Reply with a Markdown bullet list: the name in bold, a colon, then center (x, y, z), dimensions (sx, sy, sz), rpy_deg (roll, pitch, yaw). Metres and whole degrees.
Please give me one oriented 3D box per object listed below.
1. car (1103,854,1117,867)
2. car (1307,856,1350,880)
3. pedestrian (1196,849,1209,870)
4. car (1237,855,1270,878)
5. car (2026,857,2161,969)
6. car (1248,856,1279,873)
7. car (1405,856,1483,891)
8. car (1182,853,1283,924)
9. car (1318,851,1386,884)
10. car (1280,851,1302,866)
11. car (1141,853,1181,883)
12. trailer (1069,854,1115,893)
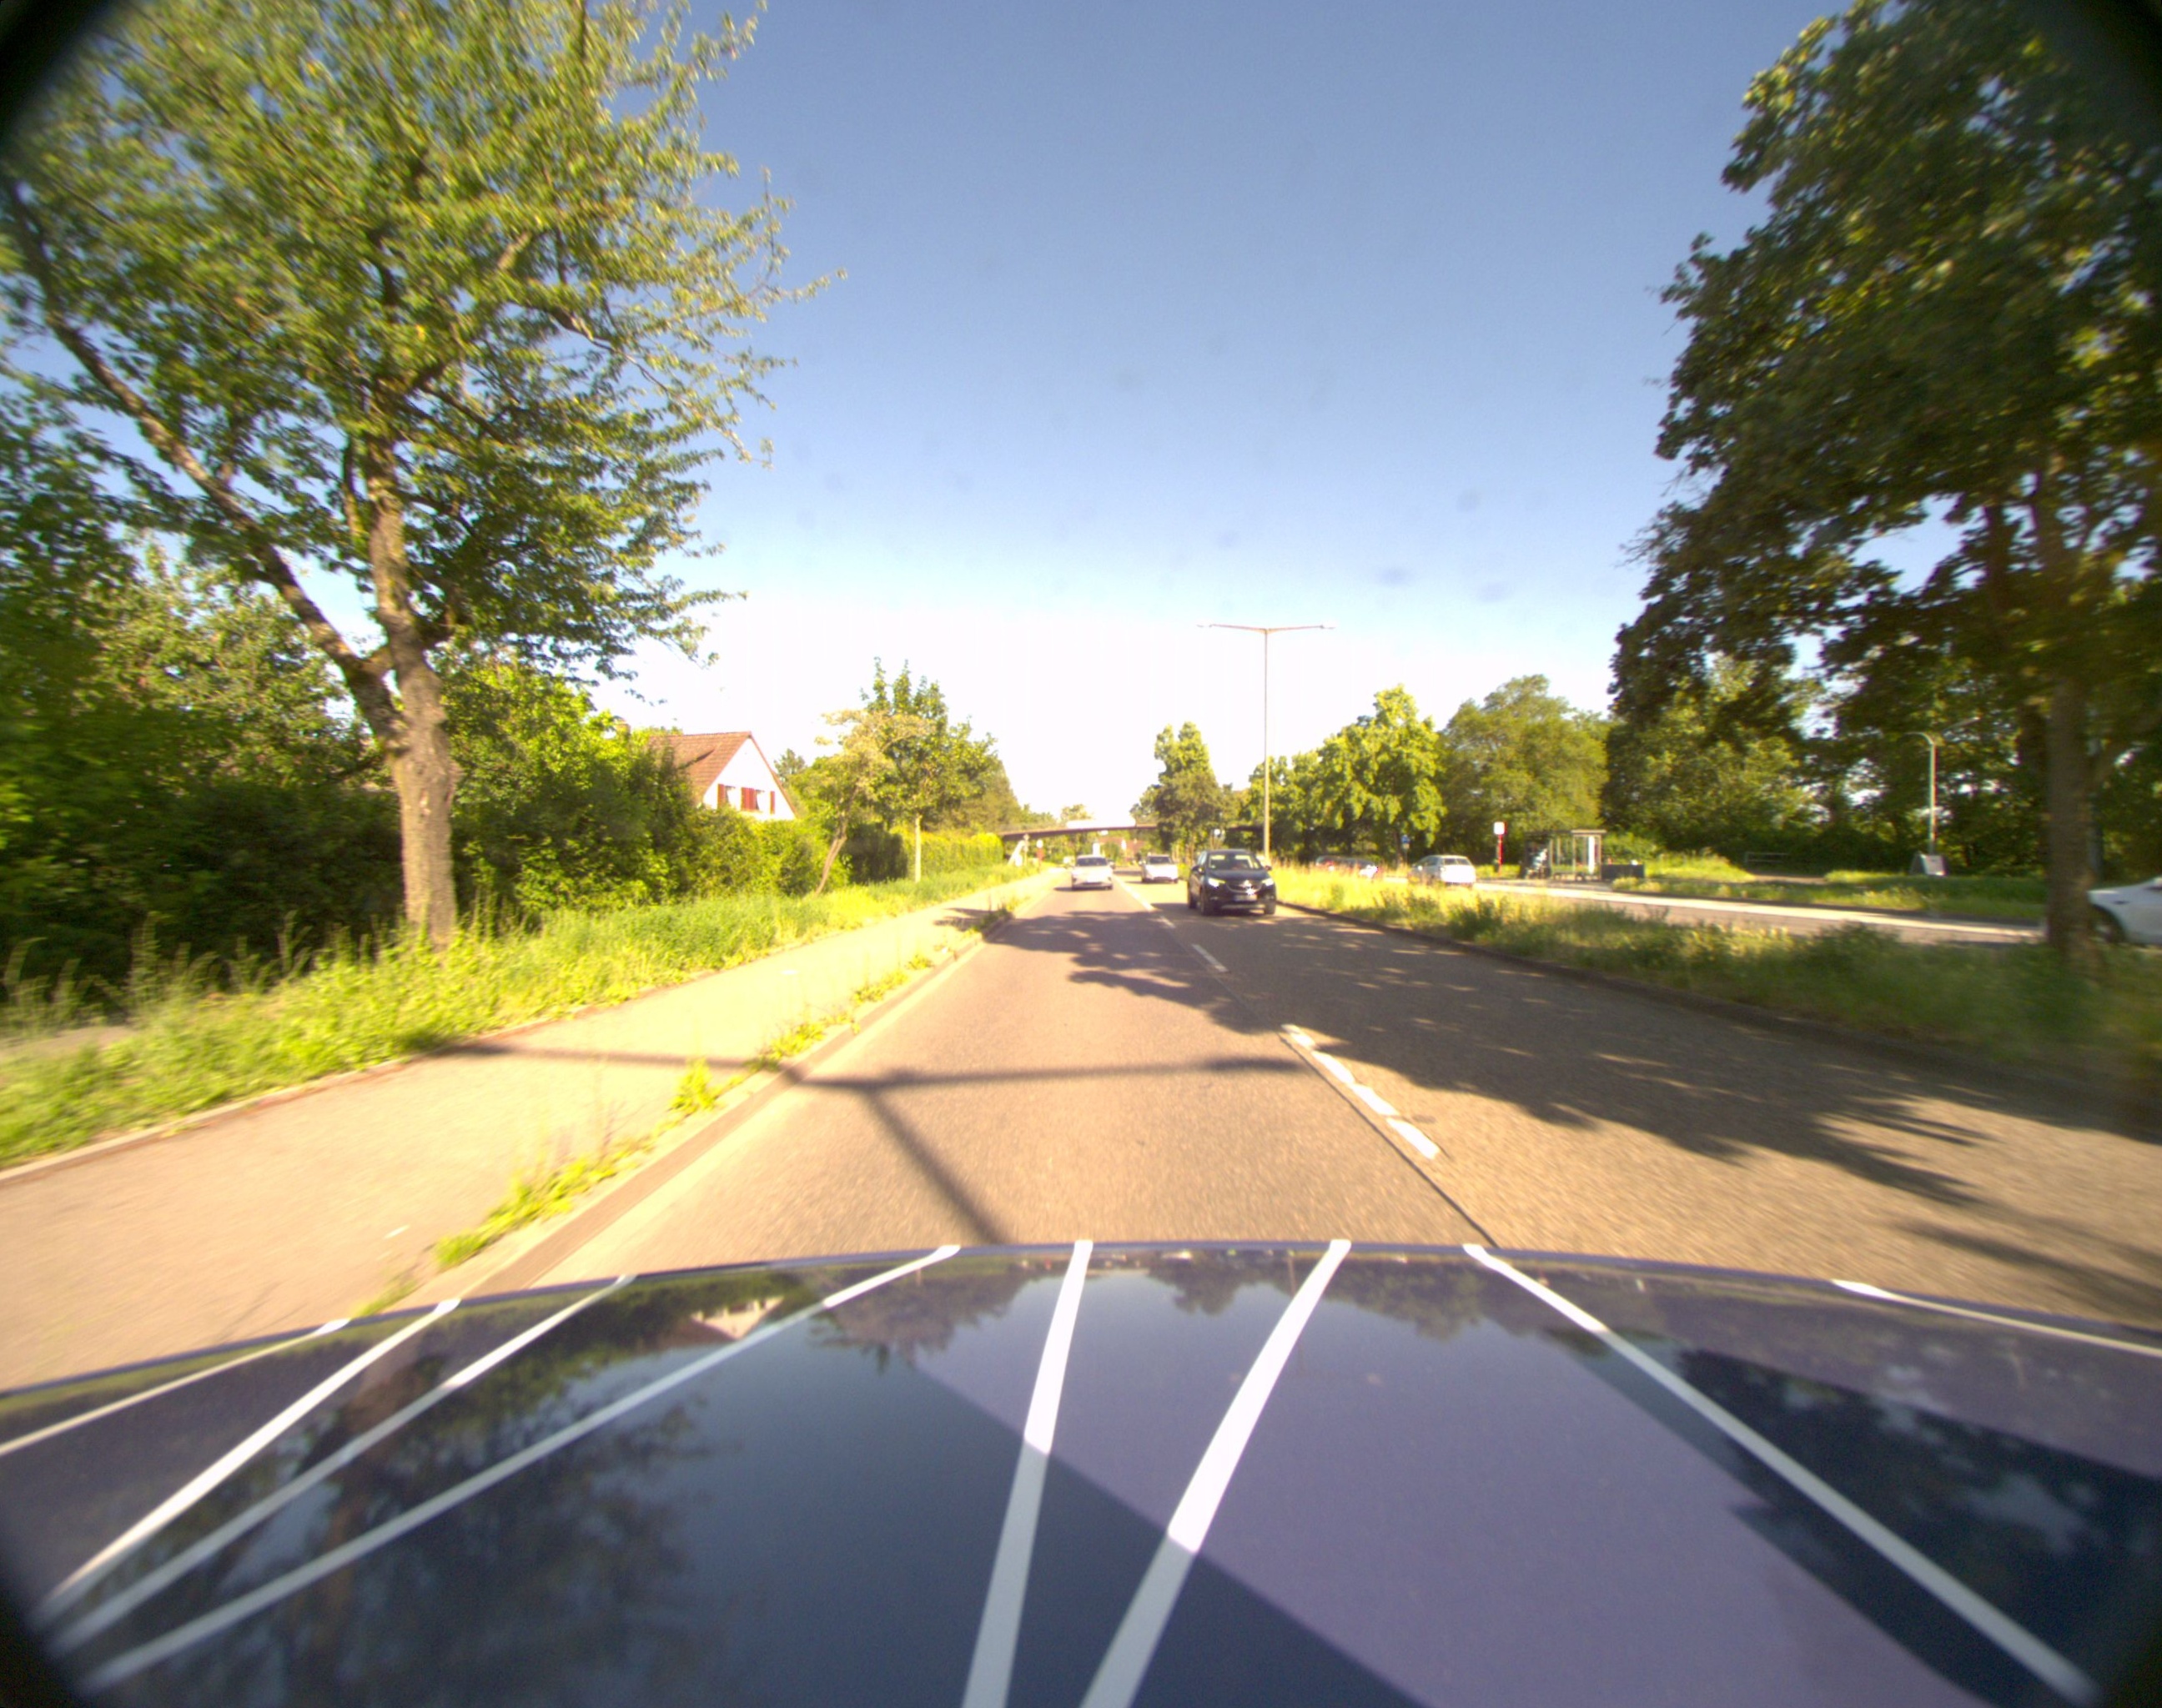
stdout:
- **car**: center (3.958, 0.875, 103.195), dimensions (1.823, 1.587, 4.273), rpy_deg (-1, 0, 1)
- **car**: center (16.862, 0.943, 51.978), dimensions (1.608, 1.554, 4.000), rpy_deg (2, 0, 0)
- **pedestrian**: center (9.584, 0.428, 59.893), dimensions (0.631, 1.686, 0.945), rpy_deg (0, 0, 32)
- **car**: center (13.137, 0.924, 58.018), dimensions (1.717, 1.593, 4.359), rpy_deg (0, 0, 2)
- **car**: center (16.221, 0.903, 9.946), dimensions (1.844, 1.580, 4.585), rpy_deg (5, 0, -1)
- **car**: center (17.020, 0.955, 71.161), dimensions (1.810, 1.491, 4.596), rpy_deg (0, 0, 0)
- **car**: center (16.595, 0.865, 34.980), dimensions (1.717, 1.463, 4.064), rpy_deg (1, 0, 2)
- **car**: center (3.803, 0.791, 19.857), dimensions (1.811, 1.605, 4.514), rpy_deg (-1, 0, 1)
- **car**: center (12.430, 0.580, 35.080), dimensions (1.706, 1.387, 4.250), rpy_deg (0, 0, 1)
- **car**: center (20.733, 0.418, 75.151), dimensions (1.585, 1.406, 3.133), rpy_deg (-1, 0, 6)
- **car**: center (4.363, 0.759, 41.787), dimensions (1.823, 1.553, 4.647), rpy_deg (-1, -1, 2)
- **trailer**: center (0.516, 0.807, 33.998), dimensions (1.897, 1.586, 4.000), rpy_deg (-1, 0, 2)
